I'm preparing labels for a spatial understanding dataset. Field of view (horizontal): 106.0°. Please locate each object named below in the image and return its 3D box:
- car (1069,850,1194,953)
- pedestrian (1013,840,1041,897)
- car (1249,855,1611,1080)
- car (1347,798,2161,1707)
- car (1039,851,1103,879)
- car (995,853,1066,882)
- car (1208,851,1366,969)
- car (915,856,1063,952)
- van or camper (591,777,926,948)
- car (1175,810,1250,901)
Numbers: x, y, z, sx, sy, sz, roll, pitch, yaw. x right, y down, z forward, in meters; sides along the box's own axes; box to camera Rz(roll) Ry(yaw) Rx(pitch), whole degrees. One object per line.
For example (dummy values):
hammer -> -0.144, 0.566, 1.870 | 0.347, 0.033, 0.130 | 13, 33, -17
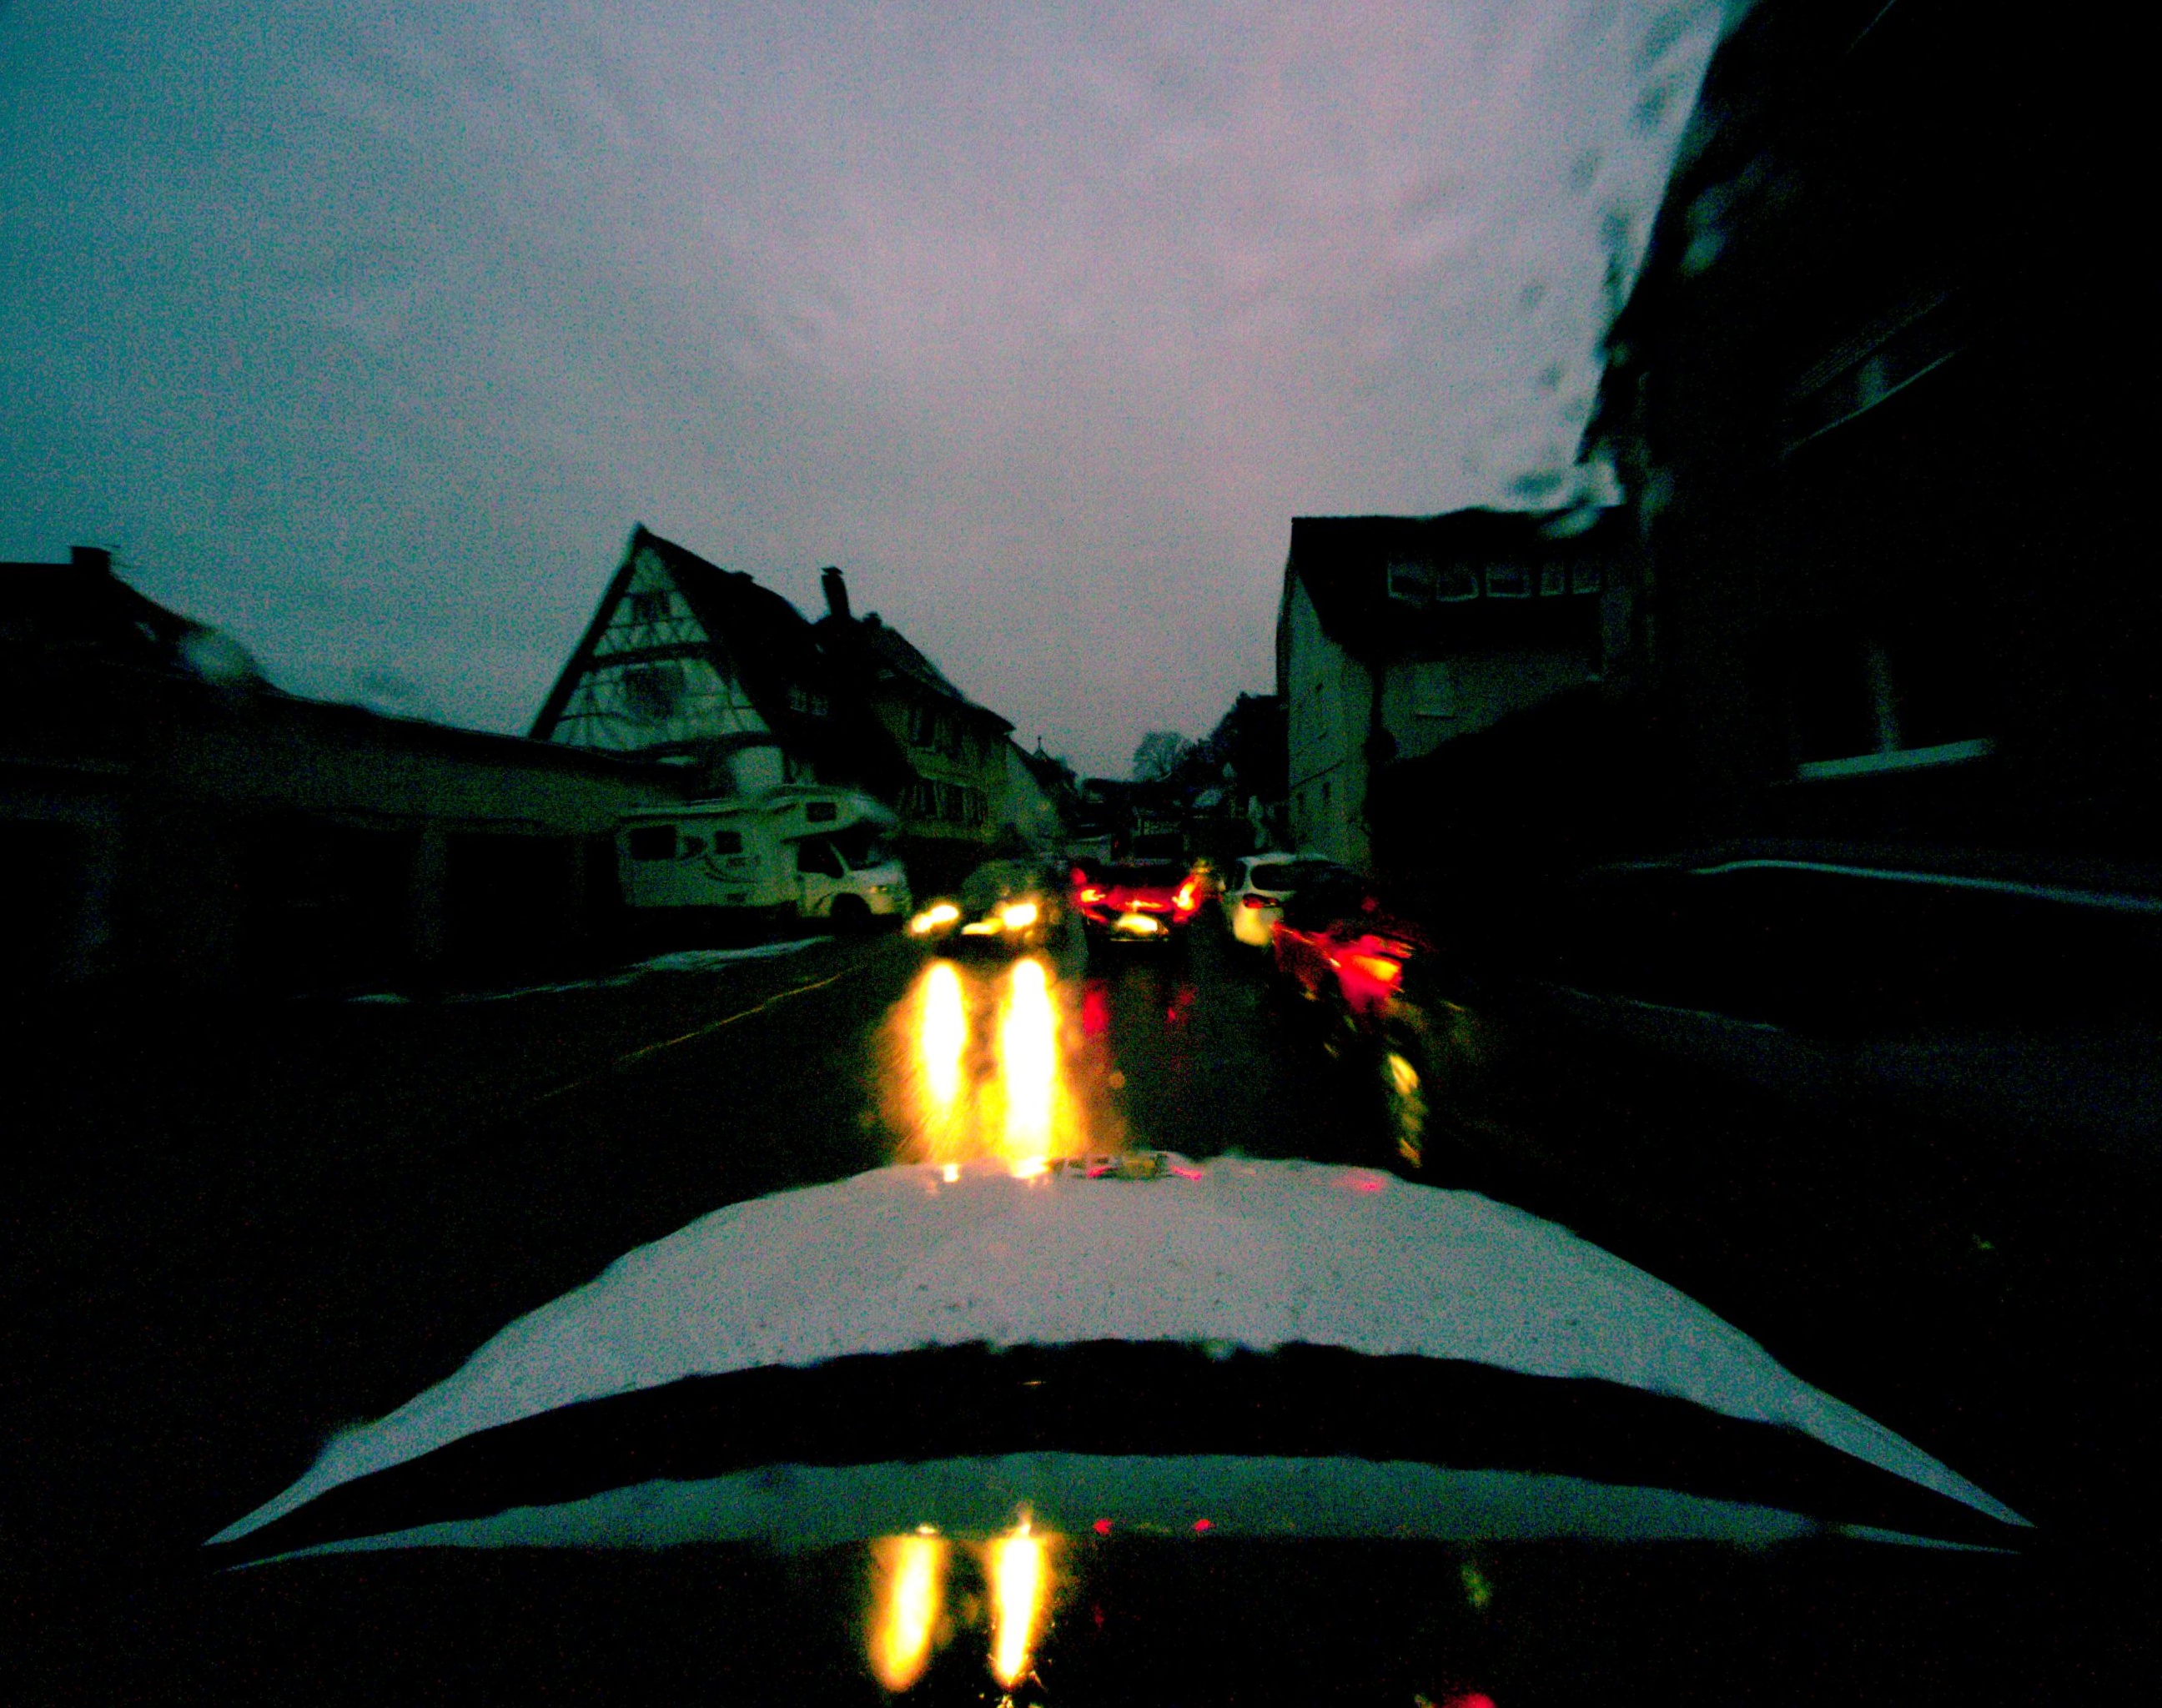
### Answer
car -> 0.855, 0.682, 13.751 | 1.787, 1.476, 4.004 | 0, 0, 4
pedestrian -> -1.937, 0.519, 29.477 | 0.870, 2.013, 0.795 | -1, 0, 2
car -> 2.624, 0.737, 7.110 | 1.672, 1.395, 3.754 | -1, 0, 3
car -> 2.332, 0.669, 2.435 | 1.792, 1.534, 4.001 | -1, 0, 1
car -> -0.527, 0.622, 46.515 | 3.492, 1.507, 1.694 | -1, 0, 4
car -> -2.694, 0.711, 43.949 | 3.486, 1.507, 1.697 | -1, 0, 9
car -> 2.982, 0.733, 12.533 | 1.717, 1.507, 3.756 | -1, 0, 4
car -> -1.471, 0.783, 14.757 | 1.860, 1.402, 4.371 | -1, 0, 4
van or camper -> -6.732, 0.199, 17.389 | 6.027, 2.955, 2.412 | -4, -1, 7
car -> 3.751, 0.041, 23.765 | 1.806, 2.413, 3.756 | -1, 0, 4
